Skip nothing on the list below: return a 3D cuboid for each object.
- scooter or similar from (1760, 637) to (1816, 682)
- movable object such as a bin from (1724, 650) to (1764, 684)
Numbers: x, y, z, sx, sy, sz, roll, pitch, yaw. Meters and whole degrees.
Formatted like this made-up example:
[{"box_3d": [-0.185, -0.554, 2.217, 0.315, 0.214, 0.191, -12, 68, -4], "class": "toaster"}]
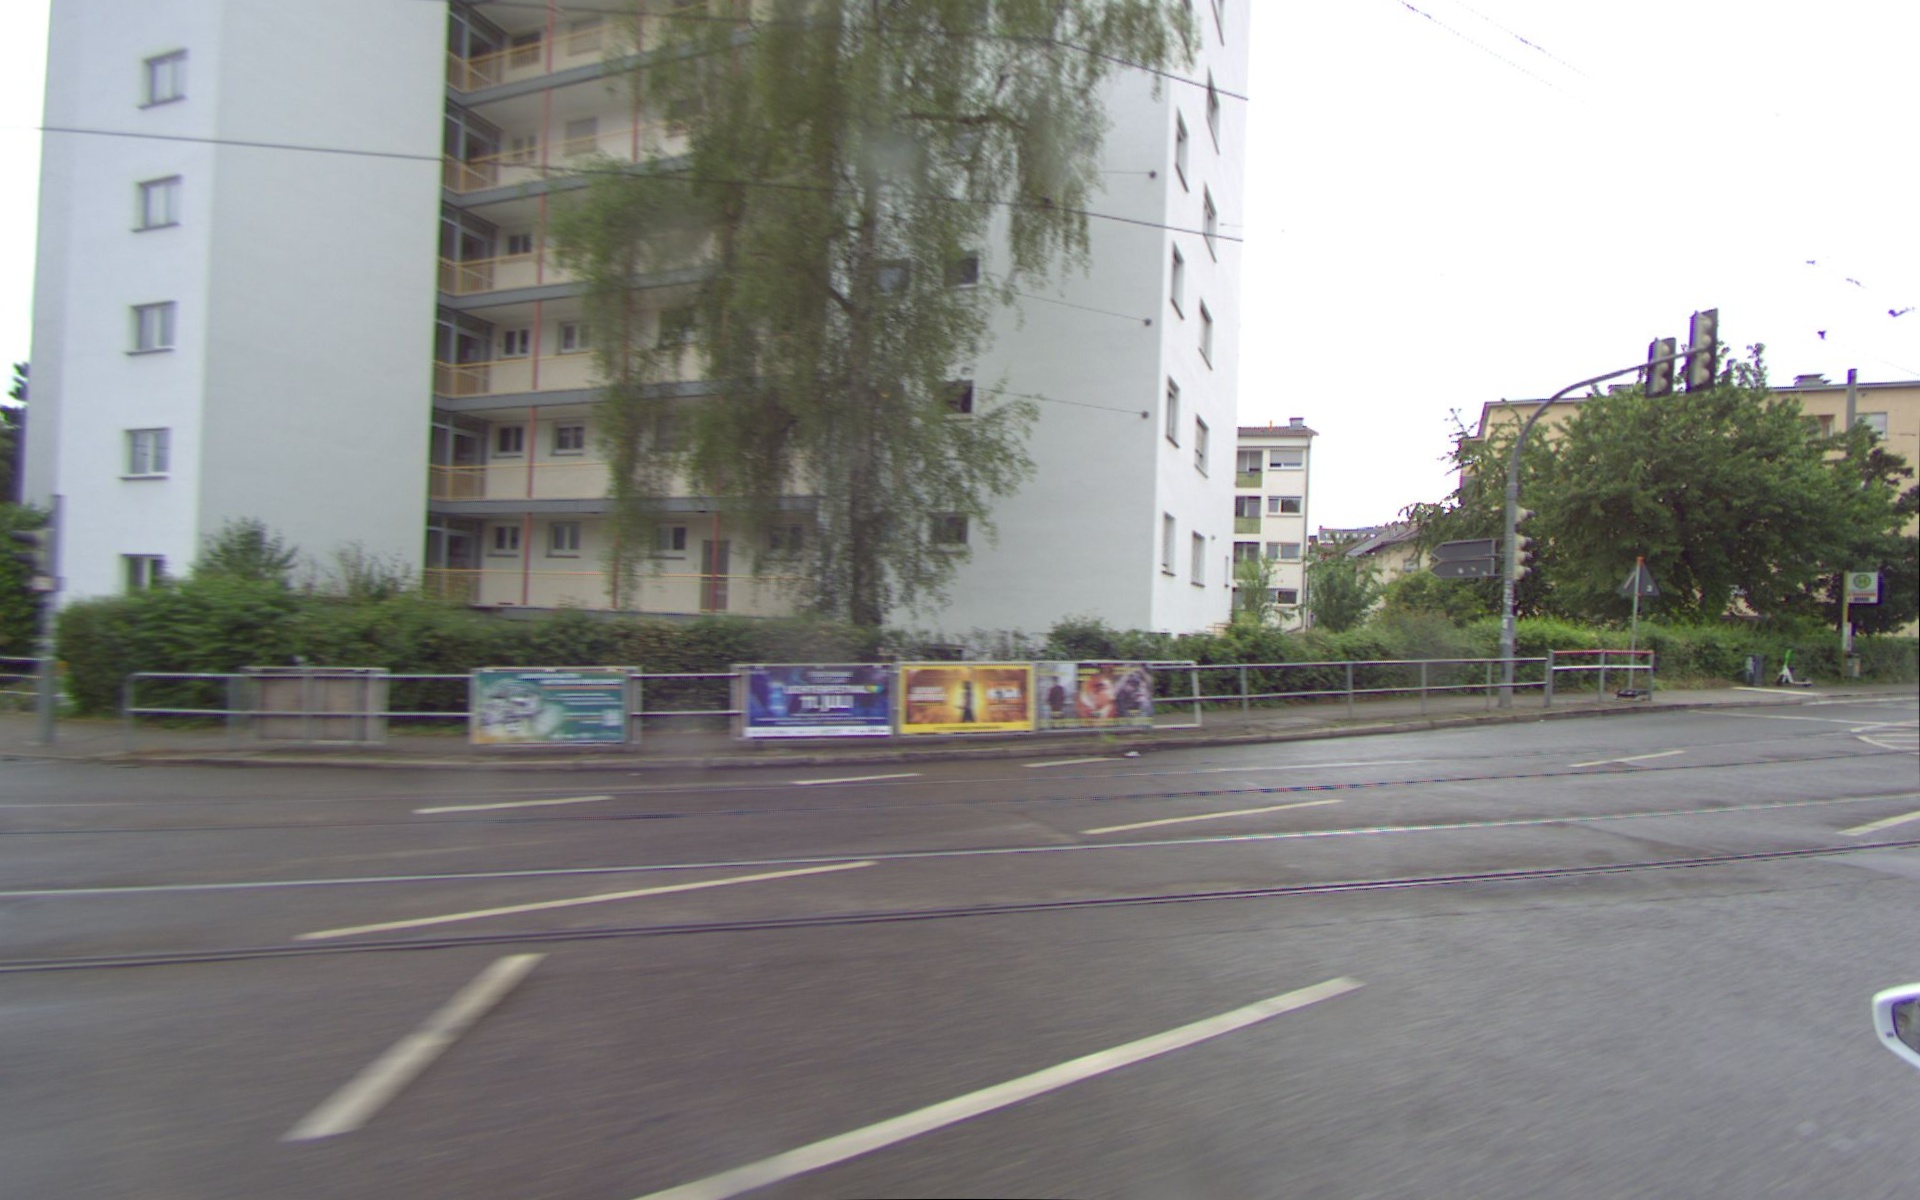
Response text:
[{"box_3d": [23.969, 1.723, 29.076, 1.577, 1.200, 0.571, 4, -1, -23], "class": "scooter or similar"}, {"box_3d": [22.060, 1.885, 28.272, 0.753, 0.893, 0.682, 4, -1, -36], "class": "movable object such as a bin"}]
